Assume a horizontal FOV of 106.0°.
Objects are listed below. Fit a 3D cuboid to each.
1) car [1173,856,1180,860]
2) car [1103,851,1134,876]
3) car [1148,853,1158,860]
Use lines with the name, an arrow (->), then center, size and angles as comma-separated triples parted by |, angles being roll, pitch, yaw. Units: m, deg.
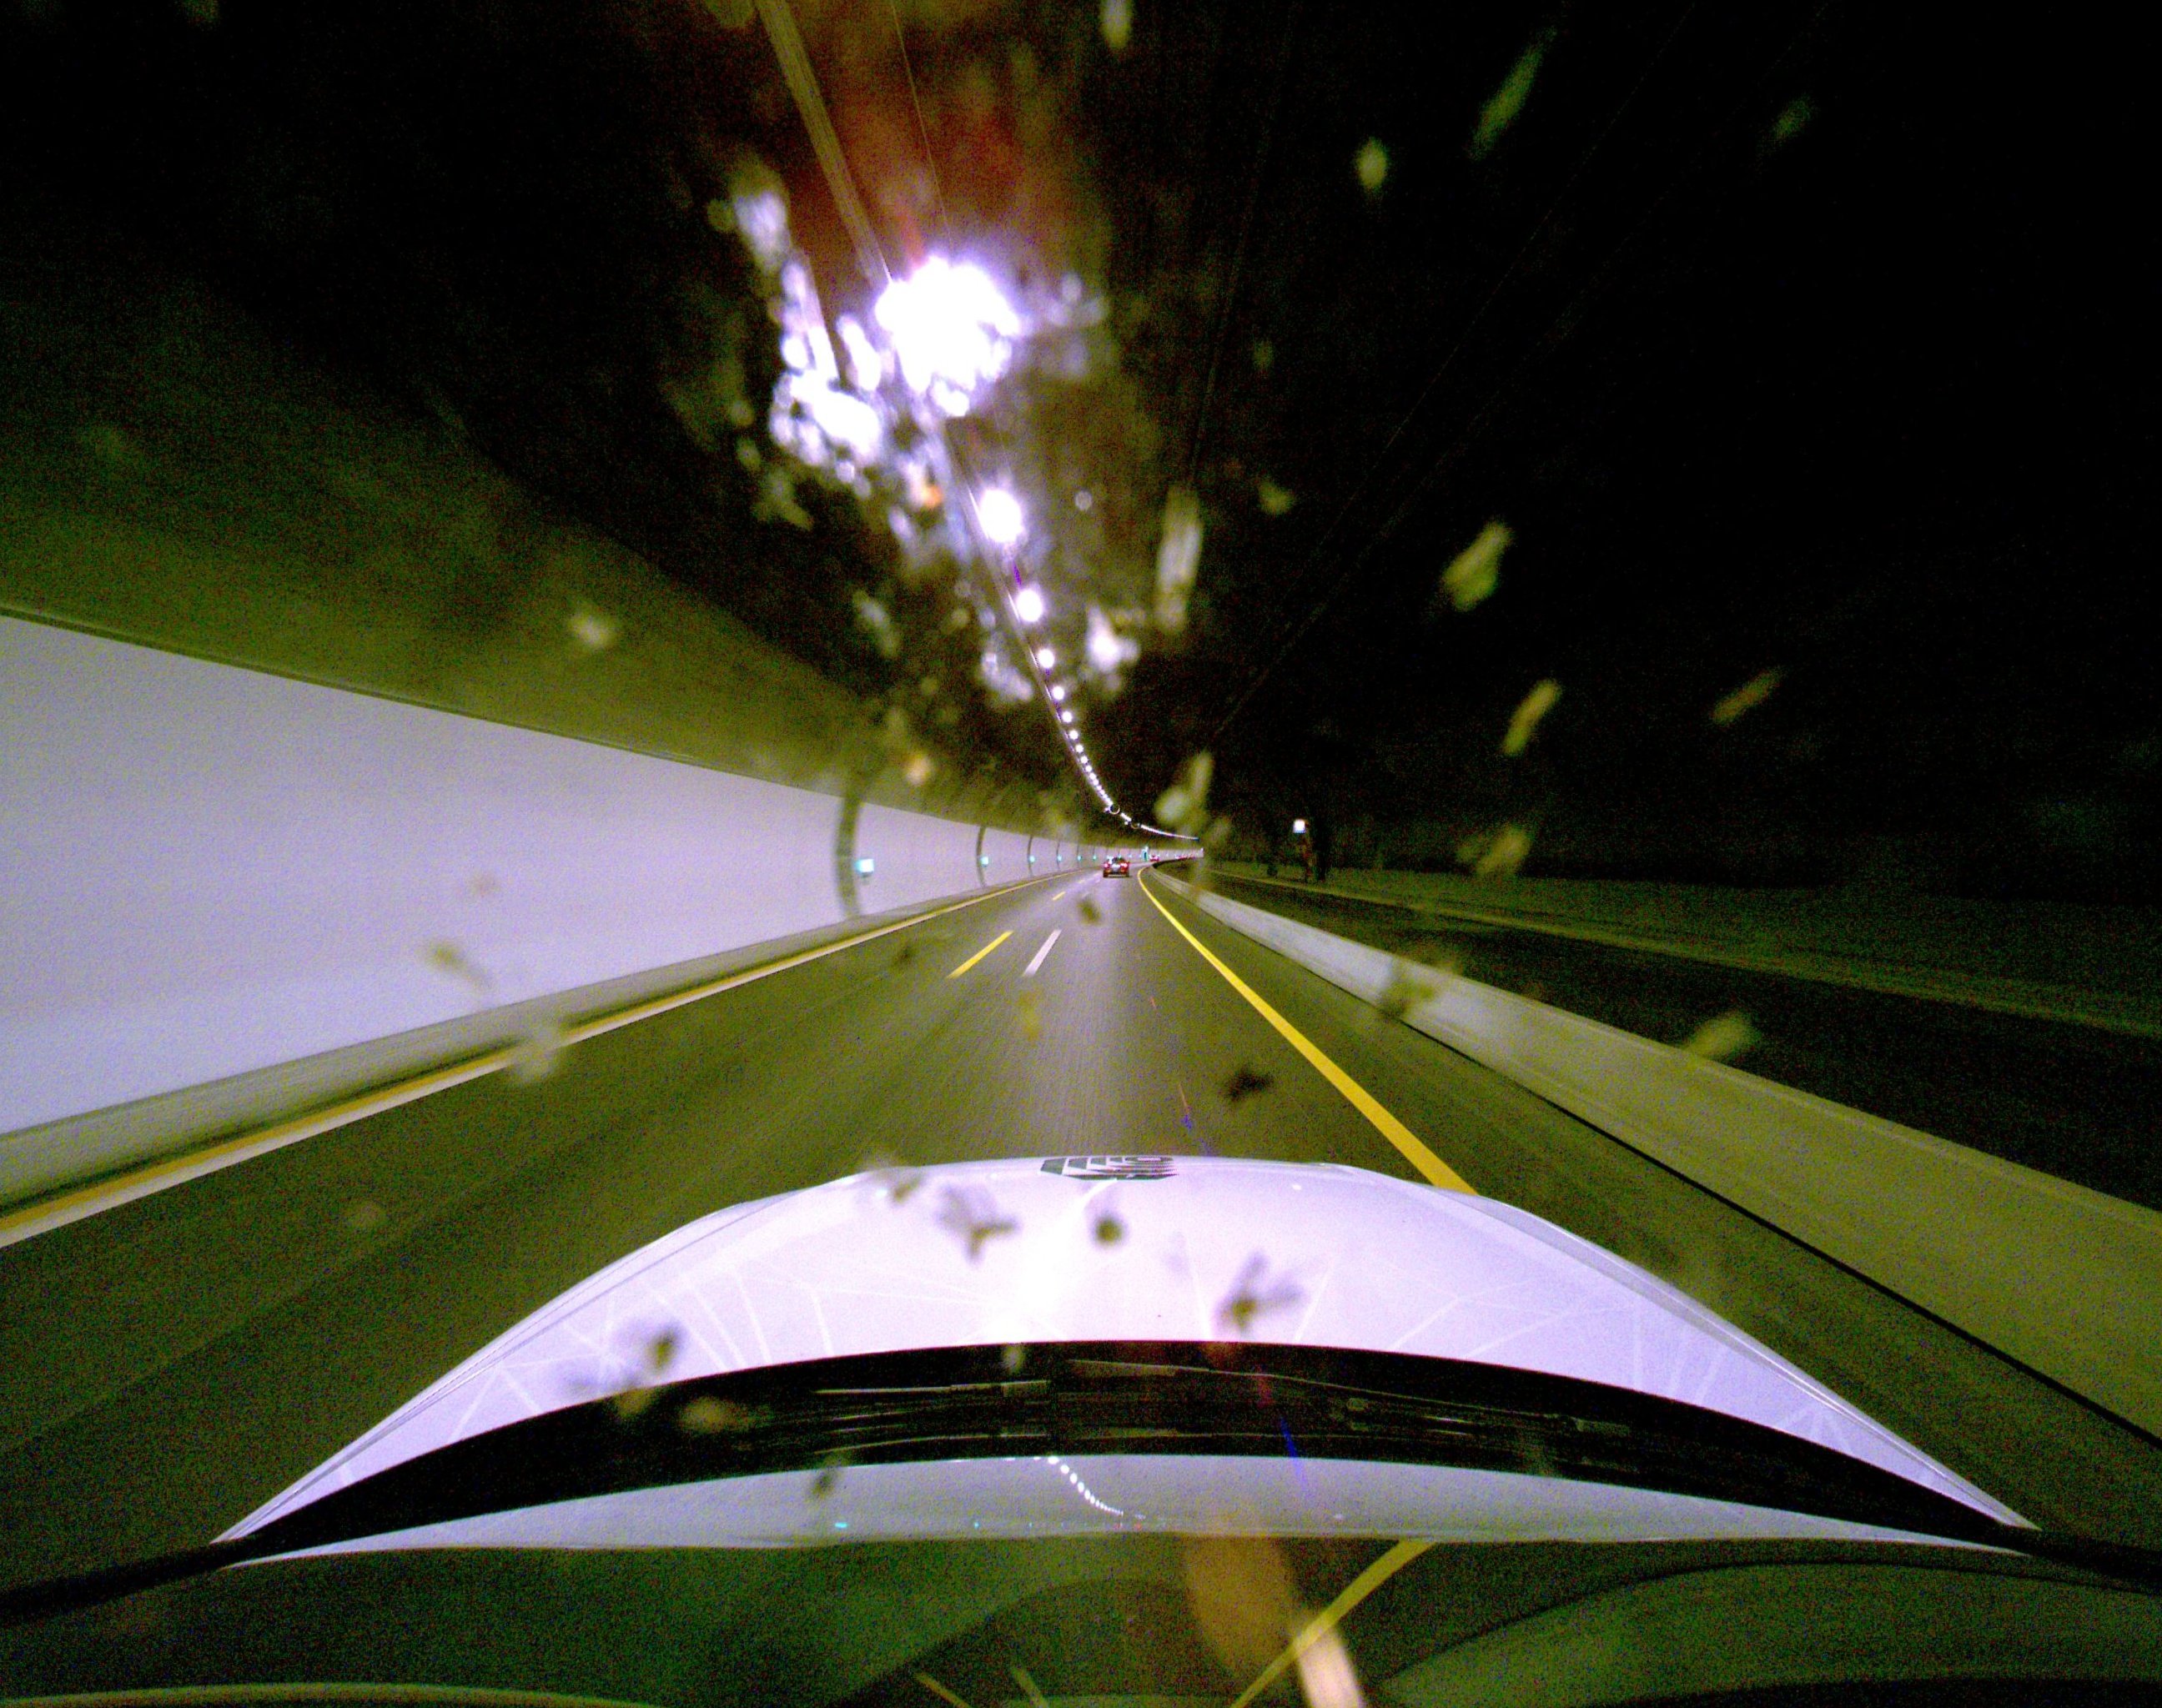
car -> 27.495, 1.160, 233.912 | 1.585, 1.333, 3.762 | -1, 0, 11
car -> 2.696, 0.677, 59.228 | 2.133, 1.706, 4.002 | -1, 0, 2
car -> 17.670, 0.615, 199.881 | 2.151, 1.486, 4.011 | -1, 0, 10
